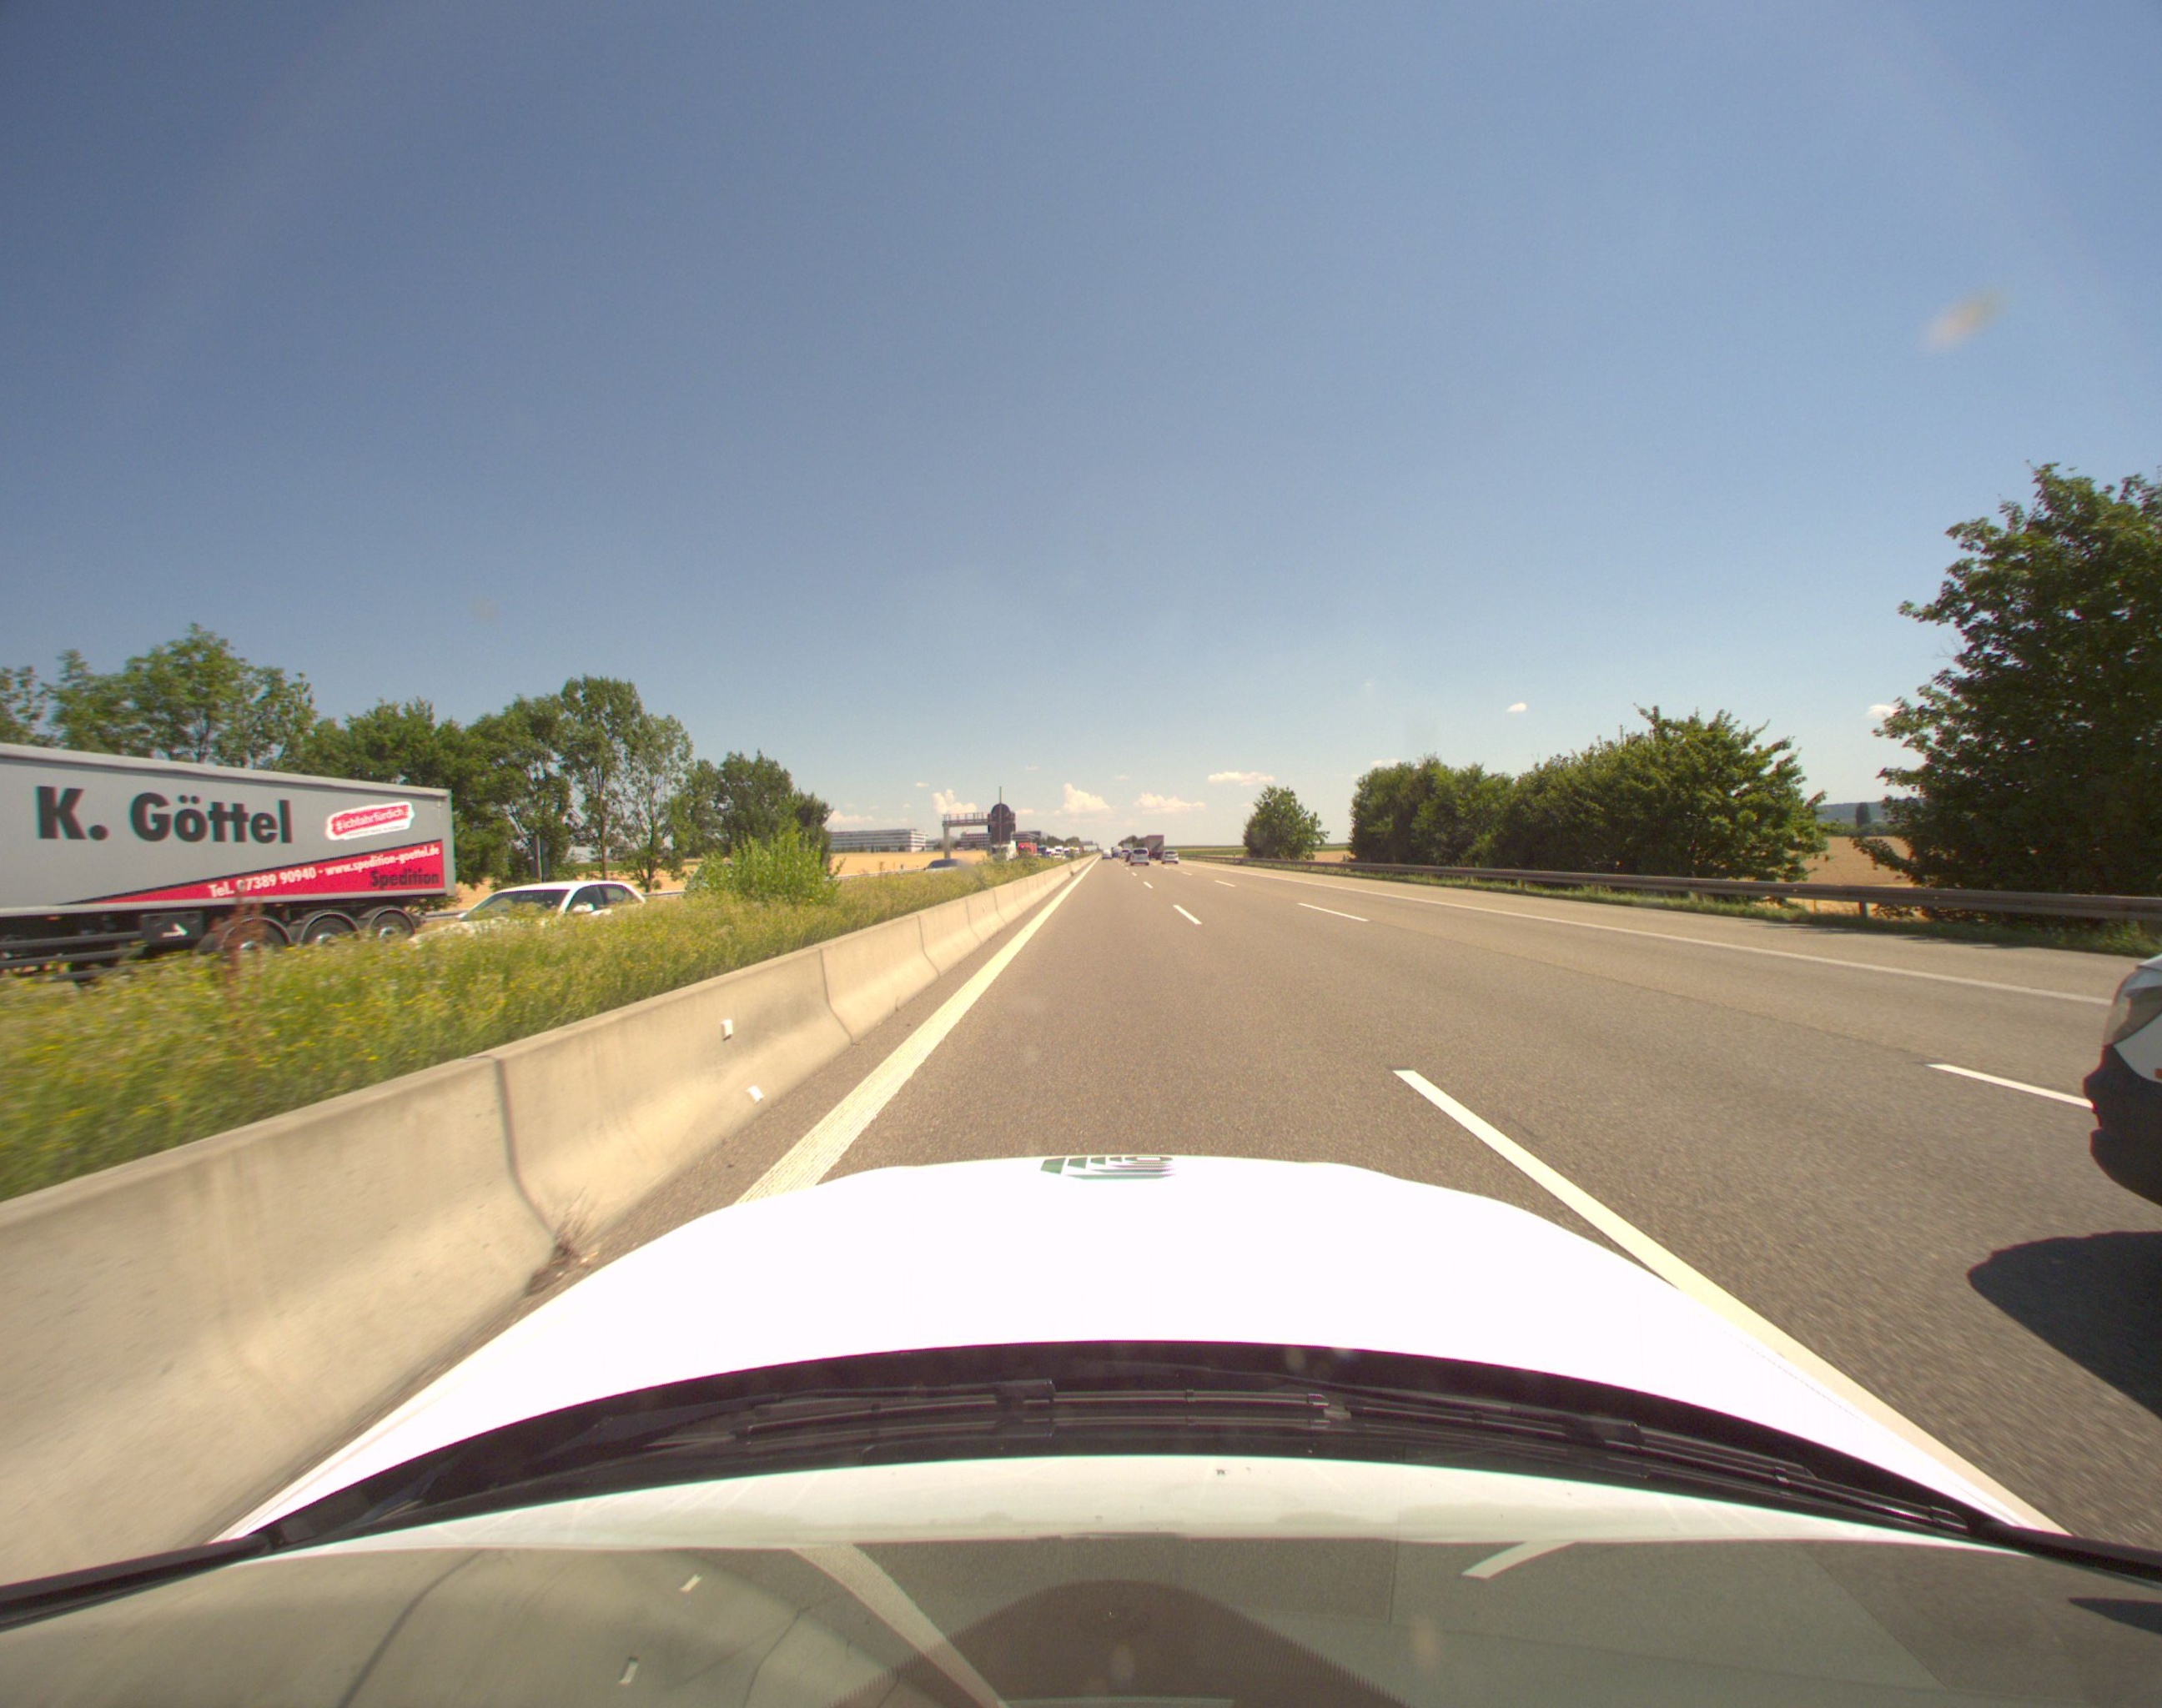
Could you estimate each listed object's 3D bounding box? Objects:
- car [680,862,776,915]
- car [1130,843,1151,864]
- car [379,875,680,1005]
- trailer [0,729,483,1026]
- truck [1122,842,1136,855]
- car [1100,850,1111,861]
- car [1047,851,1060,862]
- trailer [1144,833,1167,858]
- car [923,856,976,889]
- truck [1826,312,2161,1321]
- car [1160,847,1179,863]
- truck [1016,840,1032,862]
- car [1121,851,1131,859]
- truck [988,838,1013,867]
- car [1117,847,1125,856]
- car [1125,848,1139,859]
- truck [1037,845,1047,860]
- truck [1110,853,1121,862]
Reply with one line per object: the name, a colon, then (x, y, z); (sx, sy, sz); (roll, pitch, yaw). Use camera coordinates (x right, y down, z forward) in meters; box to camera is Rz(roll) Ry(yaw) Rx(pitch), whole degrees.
car: (-15.057, 1.404, 35.116); (1.756, 1.952, 5.118); (-4, 0, 0)
car: (6.359, -0.065, 87.544); (1.986, 2.120, 4.001); (-1, -1, 2)
car: (-7.661, 1.095, 11.832); (1.688, 1.416, 3.815); (-2, 0, 1)
trailer: (-15.397, 0.361, 12.604); (2.845, 3.855, 12.189); (-3, 0, 1)
truck: (15.222, -1.779, 259.071); (3.802, 3.905, 9.583); (-2, 0, 1)
car: (4.588, 0.307, 150.506); (1.986, 2.014, 4.001); (-1, -1, 2)
car: (-4.544, 0.359, 135.910); (1.810, 1.753, 4.993); (-2, 0, 1)
trailer: (12.309, -1.370, 135.737); (3.265, 3.967, 9.115); (-1, -1, 2)
car: (-6.832, 0.940, 42.760); (1.755, 1.550, 4.730); (-2, 0, 2)
truck: (4.385, -0.109, 0.221); (2.312, 3.067, 6.753); (-1, 0, 1)
car: (10.450, 0.157, 96.362); (1.986, 1.794, 4.001); (-1, -1, 2)
truck: (-11.813, -0.606, 169.303); (2.766, 4.598, 4.724); (-2, 0, 1)
car: (8.830, 0.129, 160.490); (1.767, 1.447, 4.001); (-1, -1, 2)
truck: (-12.519, -0.261, 127.079); (2.939, 4.158, 5.472); (-3, 0, 1)
car: (10.514, -0.615, 213.926); (1.767, 2.392, 4.001); (-1, -1, 2)
car: (7.294, -0.080, 116.773); (1.767, 1.447, 4.001); (-1, -1, 2)
truck: (-9.911, -0.322, 208.585); (2.102, 3.600, 7.121); (-2, 0, 1)
truck: (7.644, 0.744, 180.887); (2.204, 2.013, 4.972); (-2, 0, 1)
